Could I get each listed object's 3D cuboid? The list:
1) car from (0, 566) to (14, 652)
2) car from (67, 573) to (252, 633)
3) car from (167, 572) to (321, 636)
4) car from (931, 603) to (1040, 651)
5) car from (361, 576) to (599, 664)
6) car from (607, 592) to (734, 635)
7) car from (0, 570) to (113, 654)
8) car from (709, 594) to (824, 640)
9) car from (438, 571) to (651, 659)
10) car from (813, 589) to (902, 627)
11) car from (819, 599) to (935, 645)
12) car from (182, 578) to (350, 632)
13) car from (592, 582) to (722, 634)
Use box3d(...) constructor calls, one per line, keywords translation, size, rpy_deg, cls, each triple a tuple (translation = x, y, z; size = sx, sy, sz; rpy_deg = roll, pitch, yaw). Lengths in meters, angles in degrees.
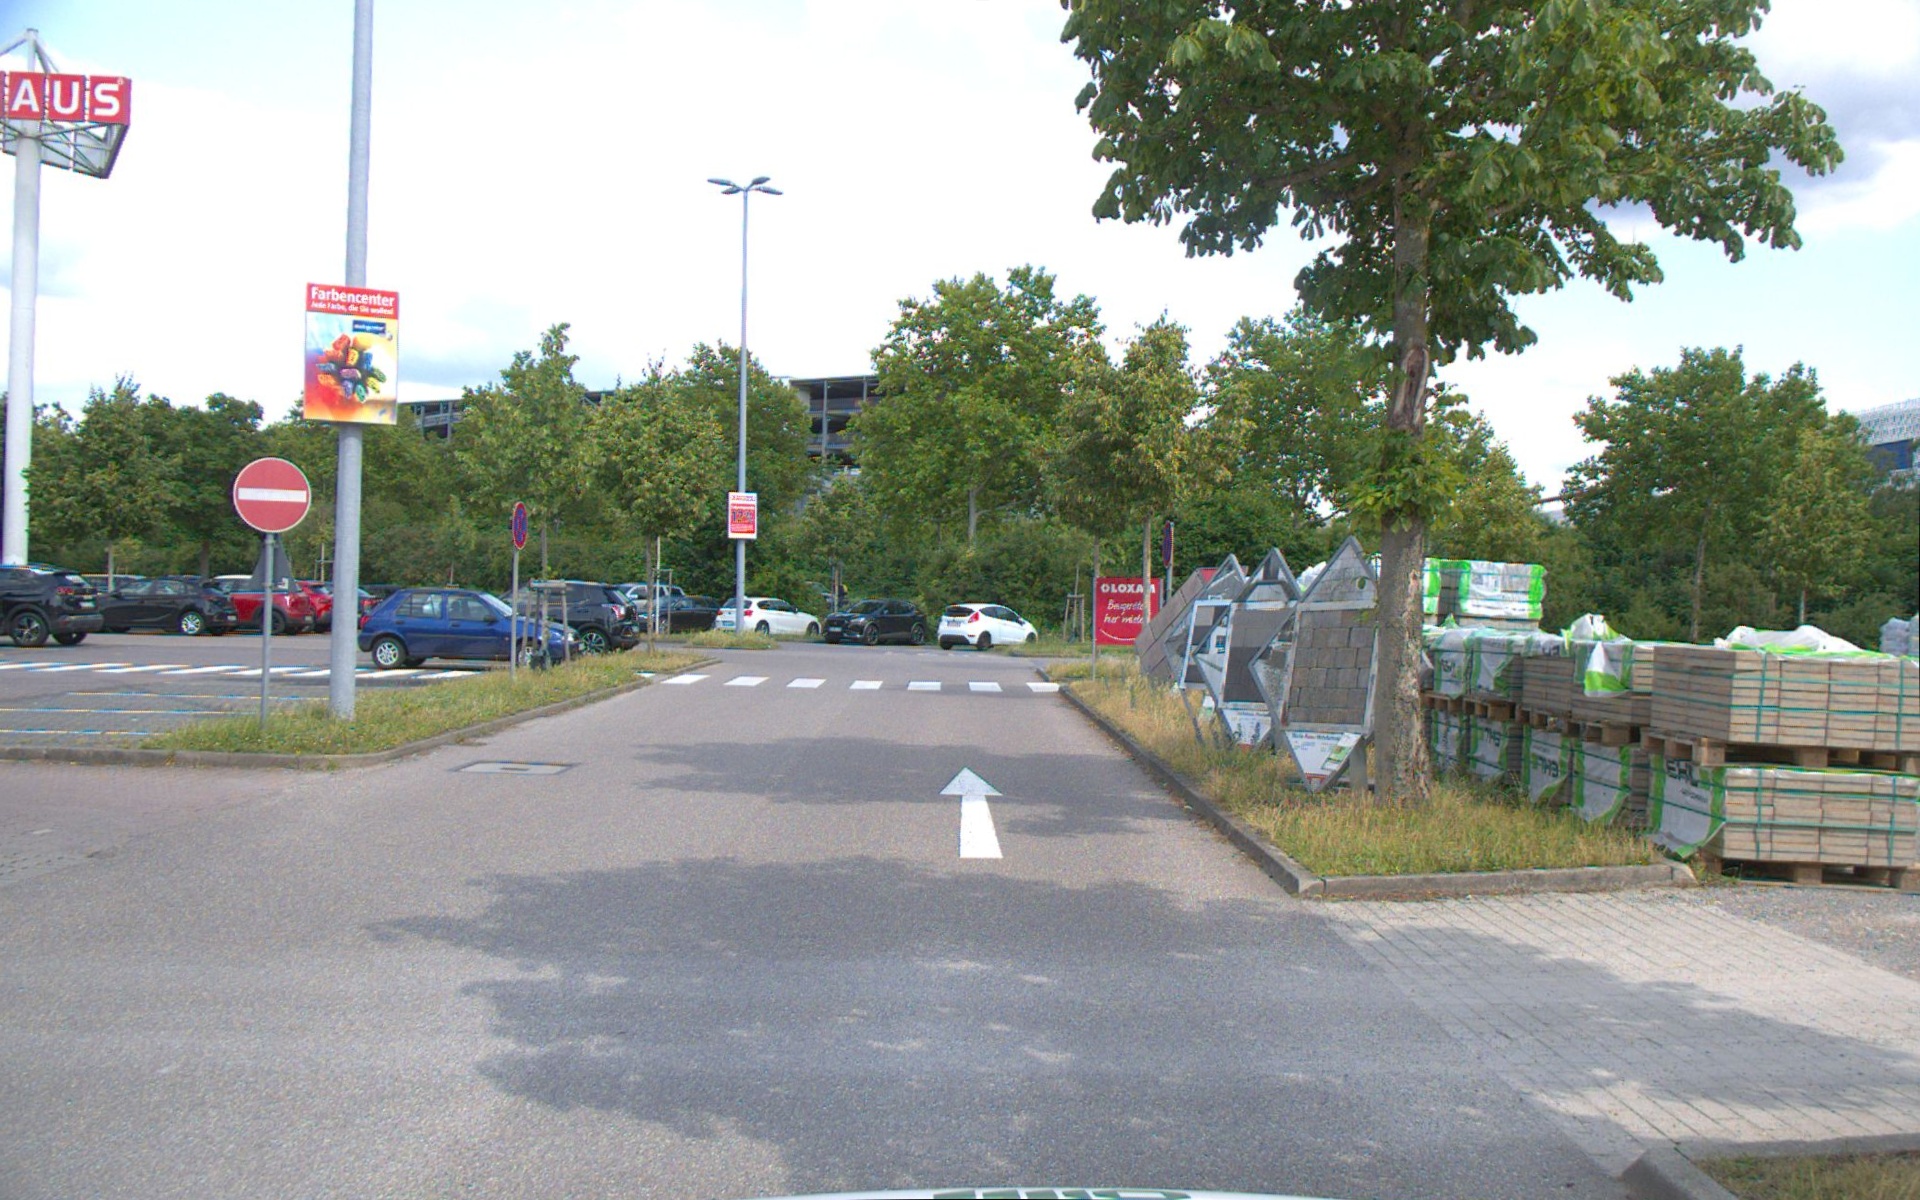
box3d(translation=(-20.255, 0.123, 31.292), size=(3.624, 1.653, 1.781), rpy_deg=(2, 0, -6), cls="car")
box3d(translation=(-20.270, 0.073, 41.987), size=(3.795, 1.393, 1.728), rpy_deg=(1, 0, -4), cls="car")
box3d(translation=(-19.267, 0.109, 44.596), size=(3.367, 1.609, 1.709), rpy_deg=(2, 0, -3), cls="car")
box3d(translation=(0.831, 0.857, 52.527), size=(1.638, 1.436, 3.541), rpy_deg=(1, 0, 38), cls="car")
box3d(translation=(-8.371, 0.341, 29.051), size=(3.674, 1.392, 1.621), rpy_deg=(2, 0, -1), cls="car")
box3d(translation=(-10.572, 0.519, 60.752), size=(1.802, 1.476, 4.709), rpy_deg=(1, 0, 35), cls="car")
box3d(translation=(-19.811, 0.203, 33.822), size=(3.989, 1.653, 1.783), rpy_deg=(2, 0, -3), cls="car")
box3d(translation=(-6.727, 0.604, 57.867), size=(1.657, 1.536, 4.065), rpy_deg=(0, -1, 36), cls="car")
box3d(translation=(-8.492, 0.295, 33.993), size=(3.869, 1.653, 1.736), rpy_deg=(2, 0, 1), cls="car")
box3d(translation=(-5.001, 0.384, 80.573), size=(3.915, 1.745, 1.995), rpy_deg=(2, 0, 32), cls="car")
box3d(translation=(-2.750, 0.746, 55.430), size=(1.698, 1.435, 4.230), rpy_deg=(1, 0, 33), cls="car")
box3d(translation=(-19.738, 0.136, 47.155), size=(3.993, 1.423, 1.765), rpy_deg=(2, 0, -3), cls="car")
box3d(translation=(-11.577, 0.323, 63.527), size=(1.949, 1.875, 5.134), rpy_deg=(1, 0, 32), cls="car")
